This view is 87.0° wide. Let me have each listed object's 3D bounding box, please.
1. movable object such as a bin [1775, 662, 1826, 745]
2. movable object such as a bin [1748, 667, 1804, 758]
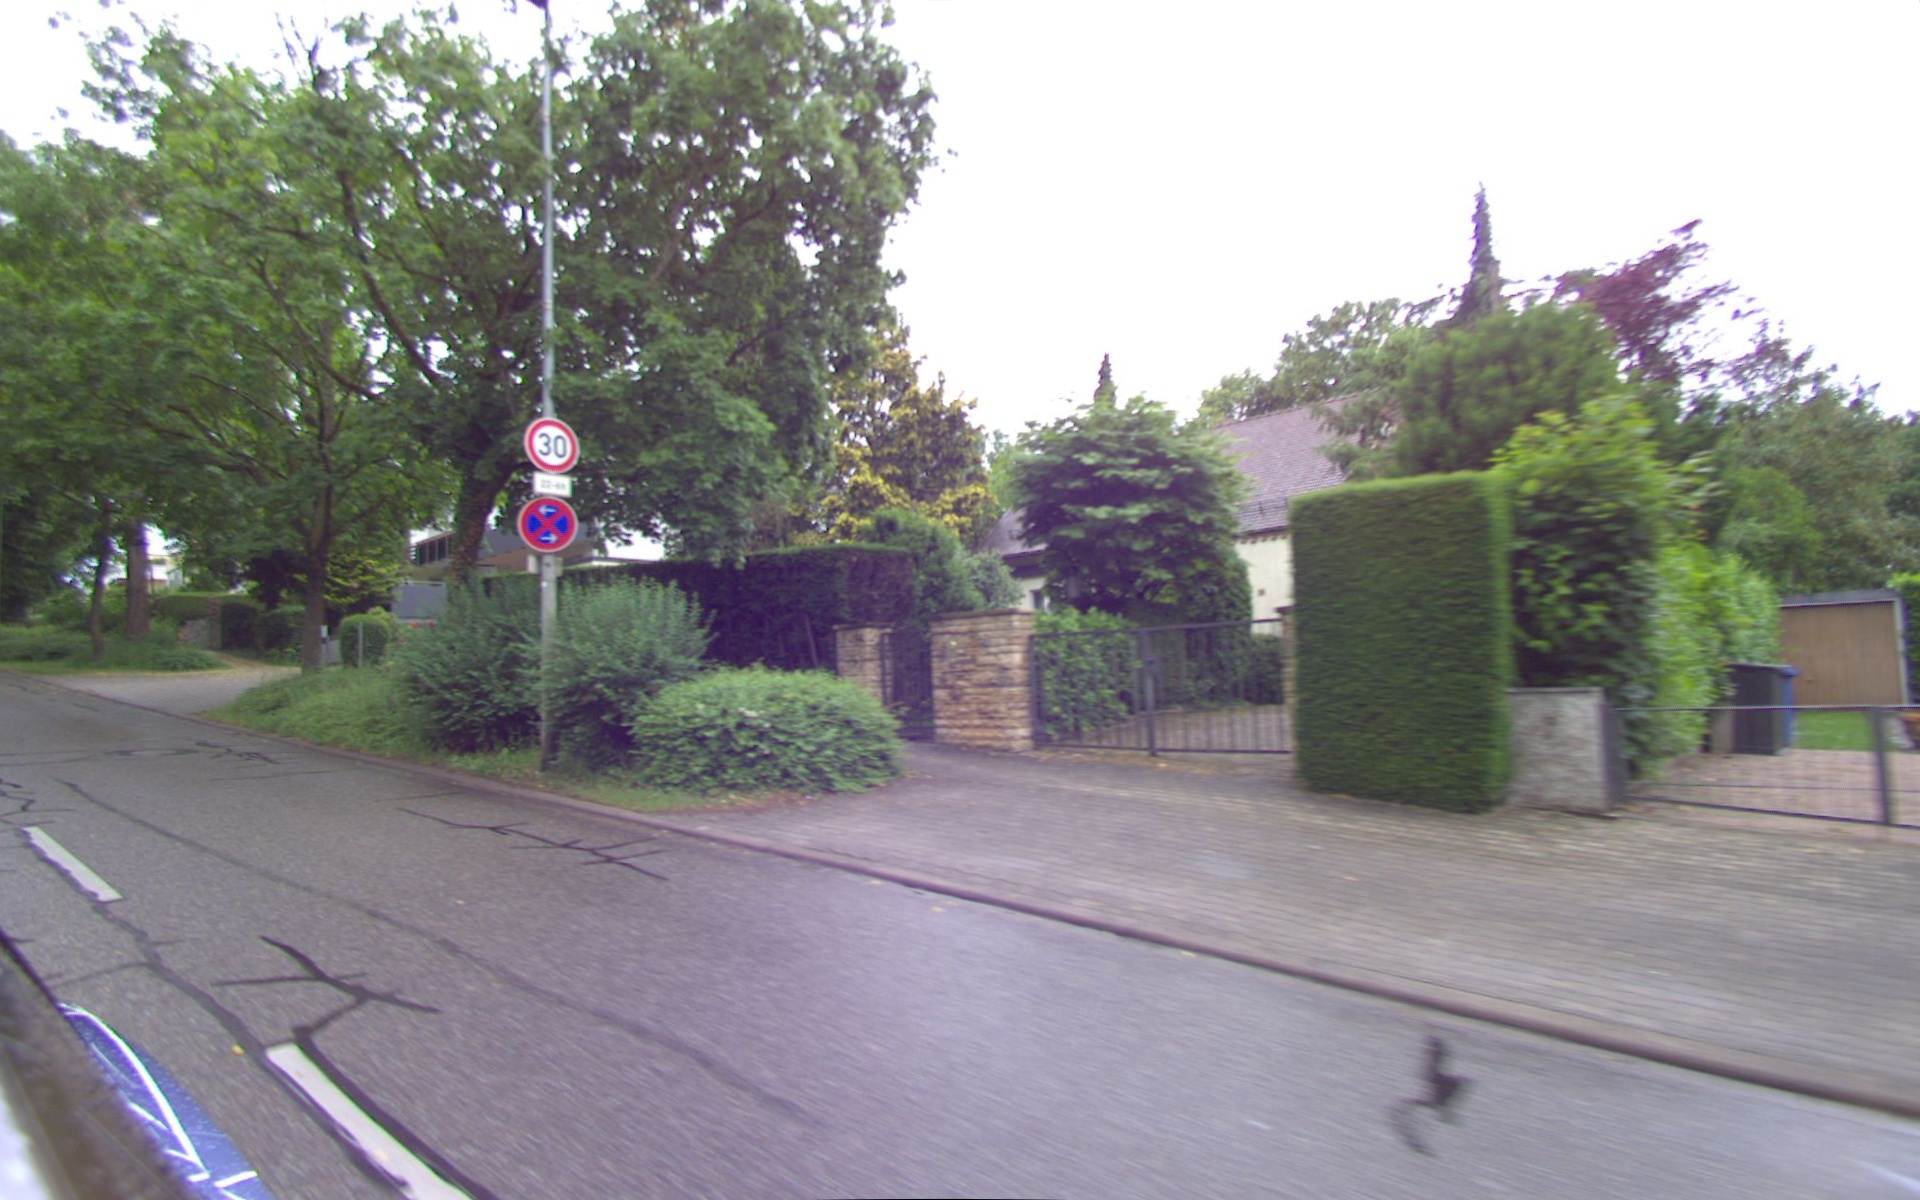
[{"bbox_3d":[11.117,1.355,13.385,0.484,1.033,0.622,-2,-2,41],"label":"movable object such as a bin"},{"bbox_3d":[9.877,1.346,12.248,0.484,1.033,0.622,-2,-2,41],"label":"movable object such as a bin"}]
